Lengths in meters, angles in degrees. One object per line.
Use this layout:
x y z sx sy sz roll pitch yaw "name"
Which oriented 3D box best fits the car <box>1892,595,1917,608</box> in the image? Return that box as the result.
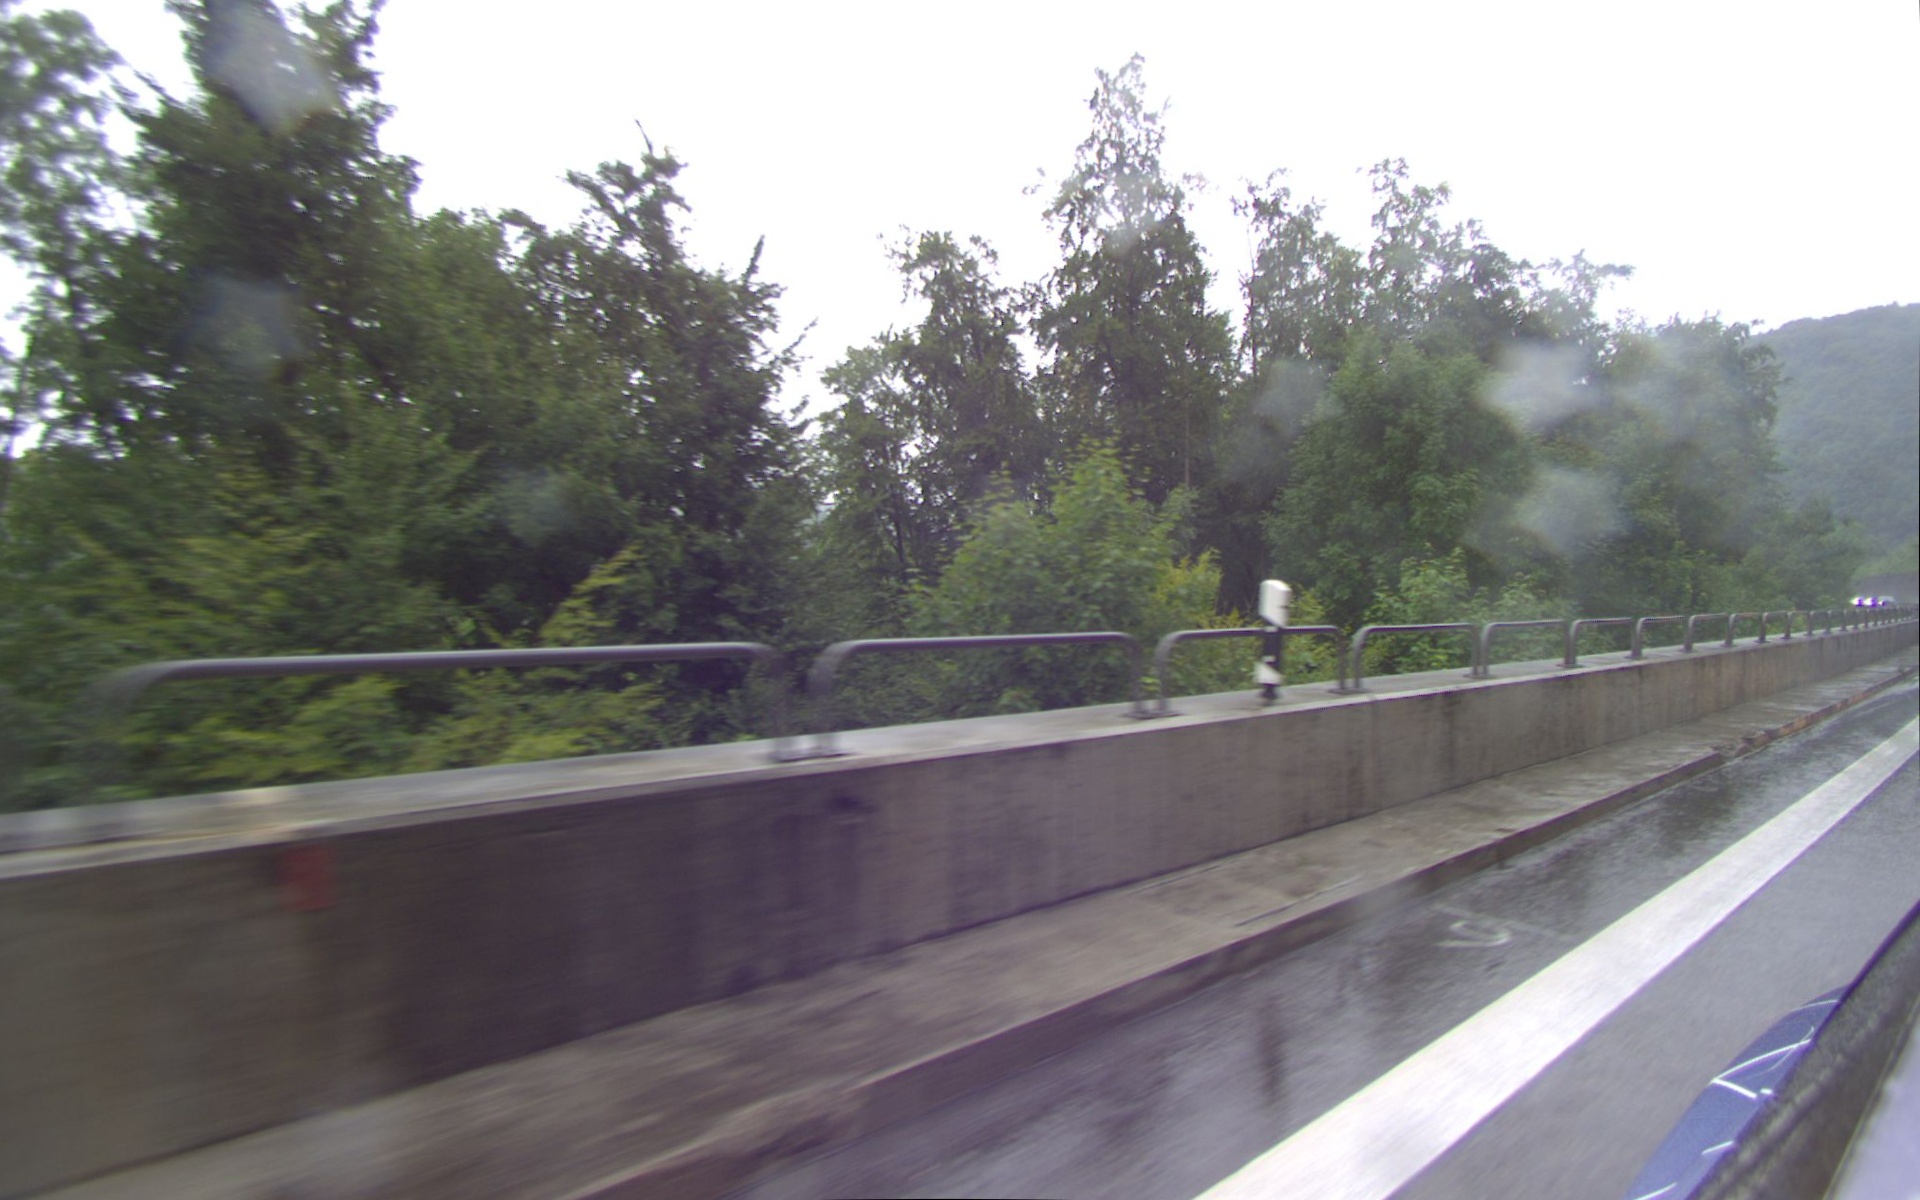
113.895 0.130 122.065 1.733 1.419 3.947 2 2 37 "car"
